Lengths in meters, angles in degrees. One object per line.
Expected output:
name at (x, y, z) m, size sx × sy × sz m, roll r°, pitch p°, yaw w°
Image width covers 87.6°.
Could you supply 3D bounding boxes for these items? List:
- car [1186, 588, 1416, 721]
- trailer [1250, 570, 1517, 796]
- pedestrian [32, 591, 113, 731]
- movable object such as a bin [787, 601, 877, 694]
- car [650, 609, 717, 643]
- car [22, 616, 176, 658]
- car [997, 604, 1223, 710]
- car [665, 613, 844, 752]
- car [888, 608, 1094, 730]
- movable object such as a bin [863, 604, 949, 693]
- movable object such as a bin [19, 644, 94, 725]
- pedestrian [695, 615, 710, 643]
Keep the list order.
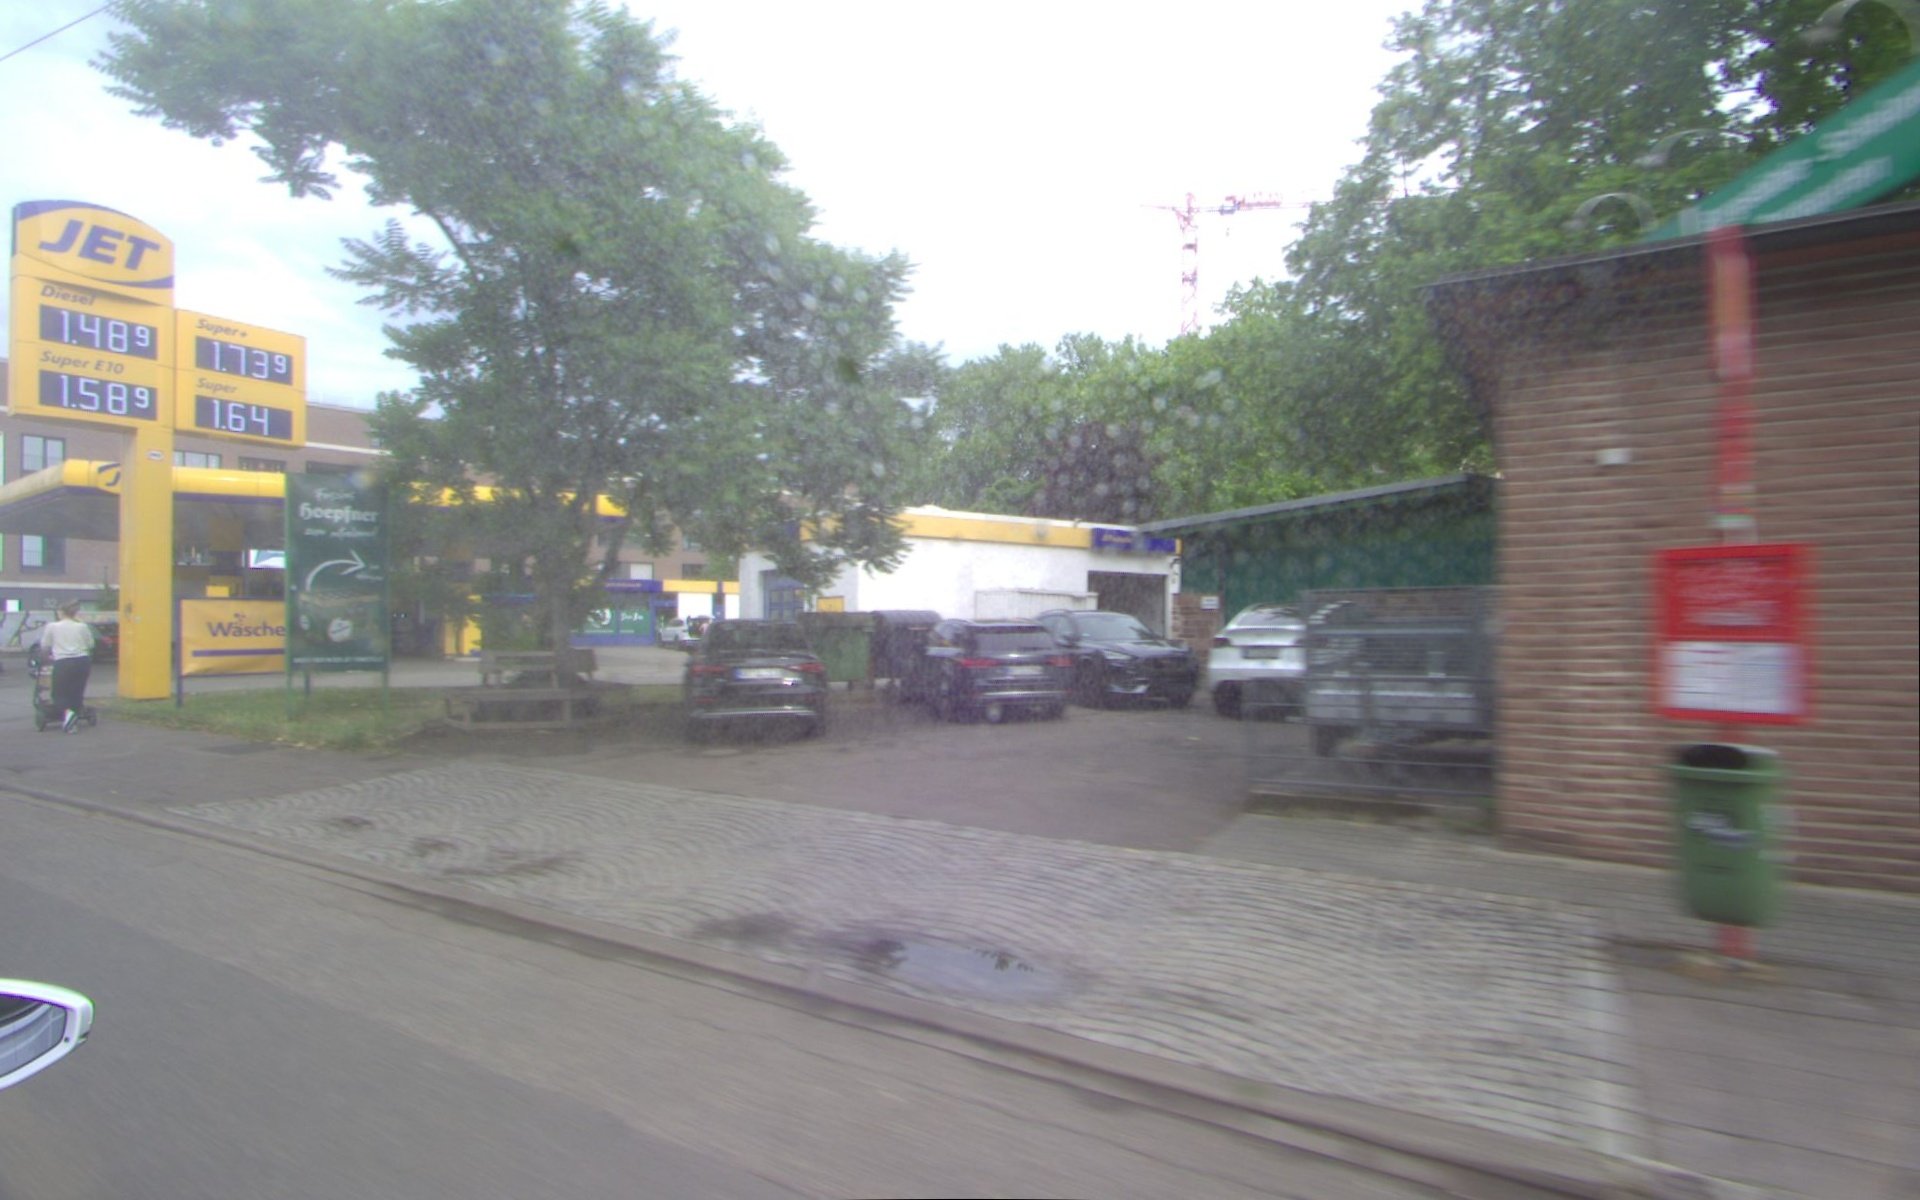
car at (5.204, 0.761, 14.908) m, size 1.966 × 1.667 × 4.409 m, roll -1°, pitch -2°, yaw 37°
trailer at (3.782, 0.625, 8.675) m, size 1.598 × 1.558 × 3.155 m, roll -1°, pitch -2°, yaw 33°
pedestrian at (-12.189, 0.796, 13.743) m, size 0.762 × 1.821 × 1.151 m, roll -2°, pitch 1°, yaw -43°
movable object such as a bin at (-2.303, 0.833, 17.860) m, size 1.397 × 1.535 × 1.121 m, roll 1°, pitch 3°, yaw -16°
car at (-14.292, 1.390, 51.657) m, size 1.818 × 1.658 × 4.446 m, roll 3°, pitch -3°, yaw -37°
car at (-31.598, 1.336, 36.757) m, size 4.796 × 1.446 × 1.951 m, roll 0°, pitch -1°, yaw 16°
car at (2.322, 0.852, 16.916) m, size 1.951 × 1.478 × 4.480 m, roll 1°, pitch 0°, yaw -18°
car at (-2.735, 0.906, 13.061) m, size 1.900 × 1.426 × 4.578 m, roll 0°, pitch 0°, yaw -13°
car at (0.266, 0.886, 15.079) m, size 1.844 × 1.446 × 4.534 m, roll -2°, pitch 1°, yaw -15°
movable object such as a bin at (-1.002, 0.874, 18.213) m, size 1.272 × 1.510 × 1.121 m, roll 2°, pitch 1°, yaw -17°
movable object such as a bin at (-13.028, 1.193, 14.442) m, size 0.762 × 1.053 × 1.014 m, roll -2°, pitch 1°, yaw -43°
pedestrian at (-12.732, 1.438, 49.497) m, size 0.573 × 1.364 × 0.608 m, roll 2°, pitch -2°, yaw -33°
